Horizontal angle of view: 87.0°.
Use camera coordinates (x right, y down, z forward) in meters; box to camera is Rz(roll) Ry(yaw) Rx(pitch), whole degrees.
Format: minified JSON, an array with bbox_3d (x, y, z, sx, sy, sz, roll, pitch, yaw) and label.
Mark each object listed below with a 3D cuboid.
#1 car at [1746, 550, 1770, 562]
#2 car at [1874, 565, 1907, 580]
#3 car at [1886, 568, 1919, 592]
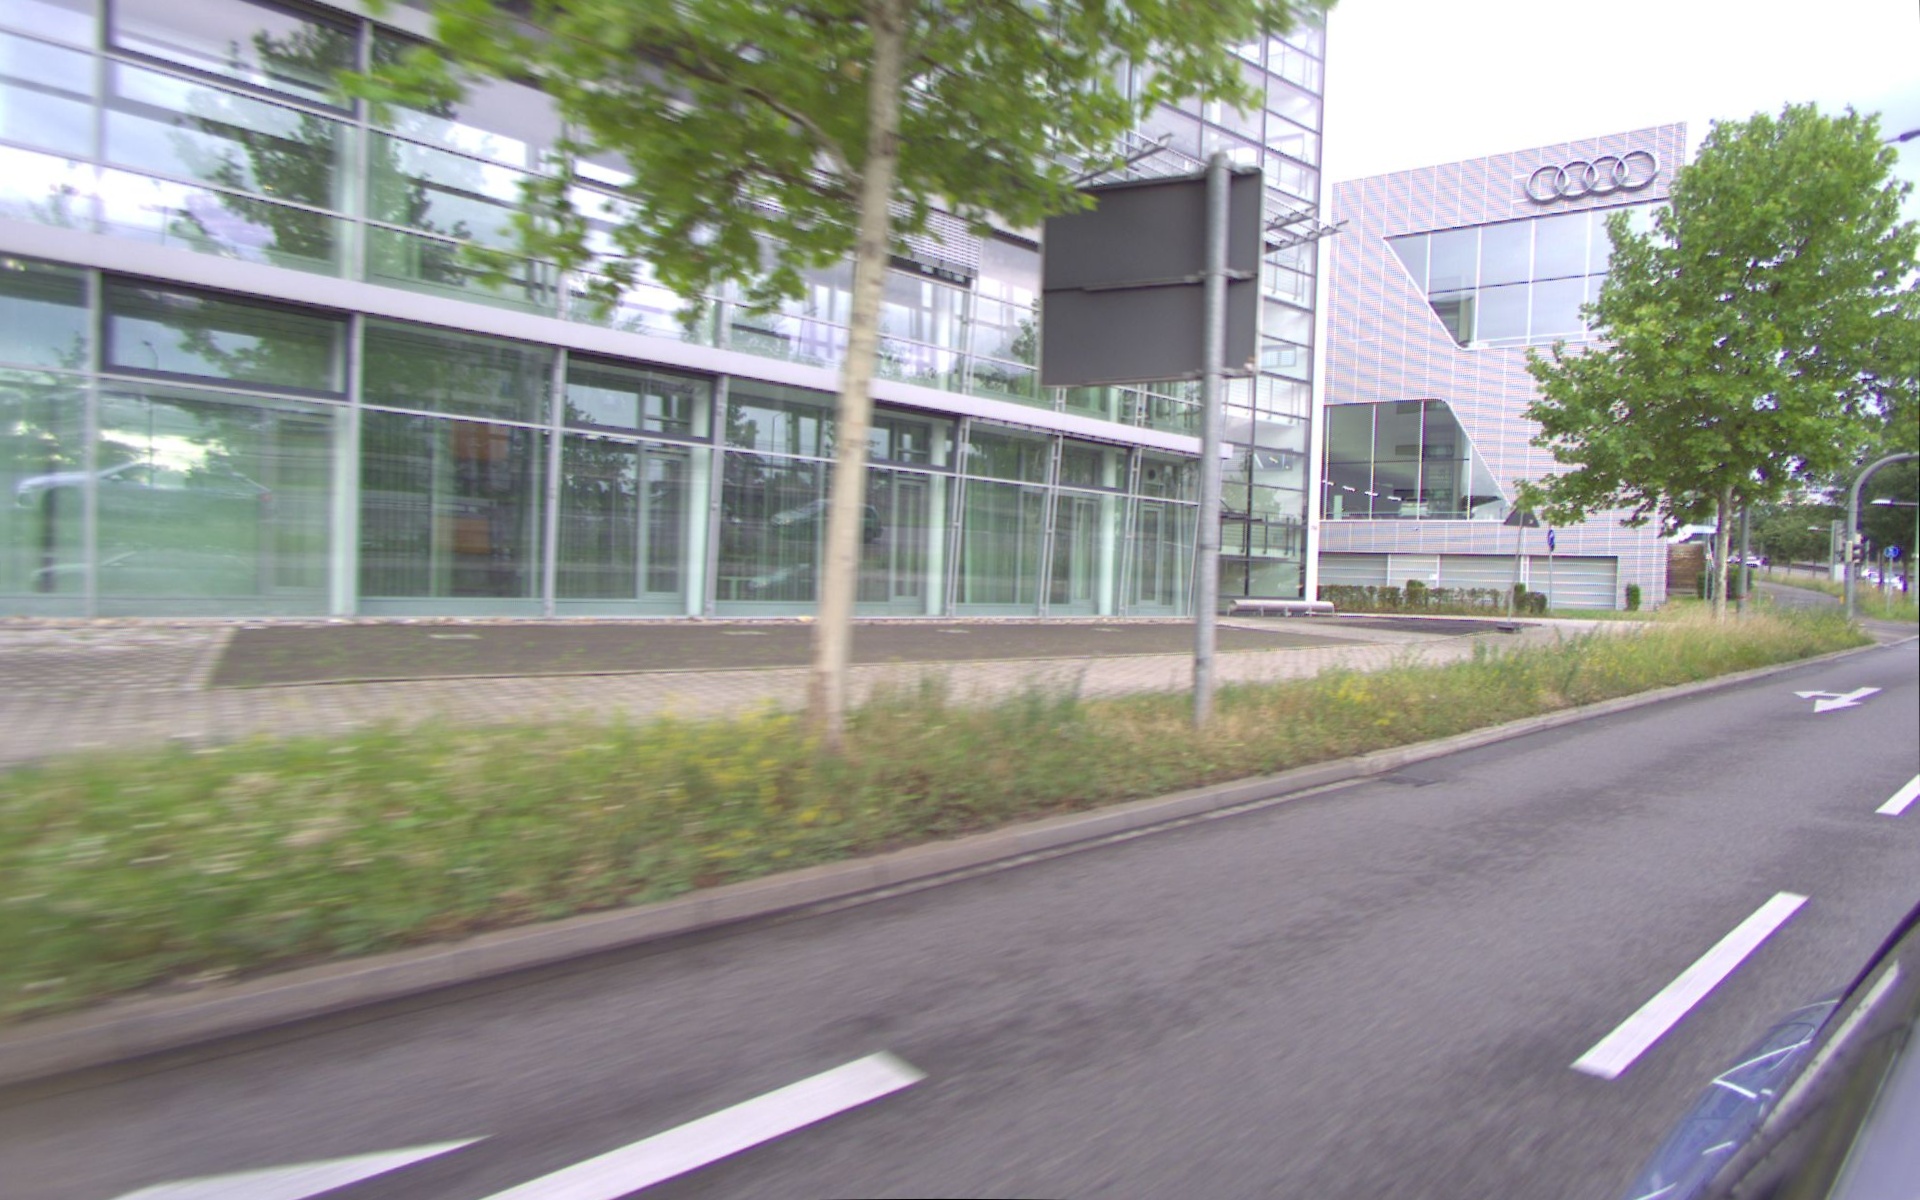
[{"bbox_3d":[129.982,-7.117,164.880,1.806,1.732,4.130,0,0,18],"label":"car"},{"bbox_3d":[99.082,-2.905,107.770,1.727,1.497,3.957,1,0,30],"label":"car"},{"bbox_3d":[73.571,-1.550,78.822,1.993,1.700,3.761,-4,-2,44],"label":"car"}]
